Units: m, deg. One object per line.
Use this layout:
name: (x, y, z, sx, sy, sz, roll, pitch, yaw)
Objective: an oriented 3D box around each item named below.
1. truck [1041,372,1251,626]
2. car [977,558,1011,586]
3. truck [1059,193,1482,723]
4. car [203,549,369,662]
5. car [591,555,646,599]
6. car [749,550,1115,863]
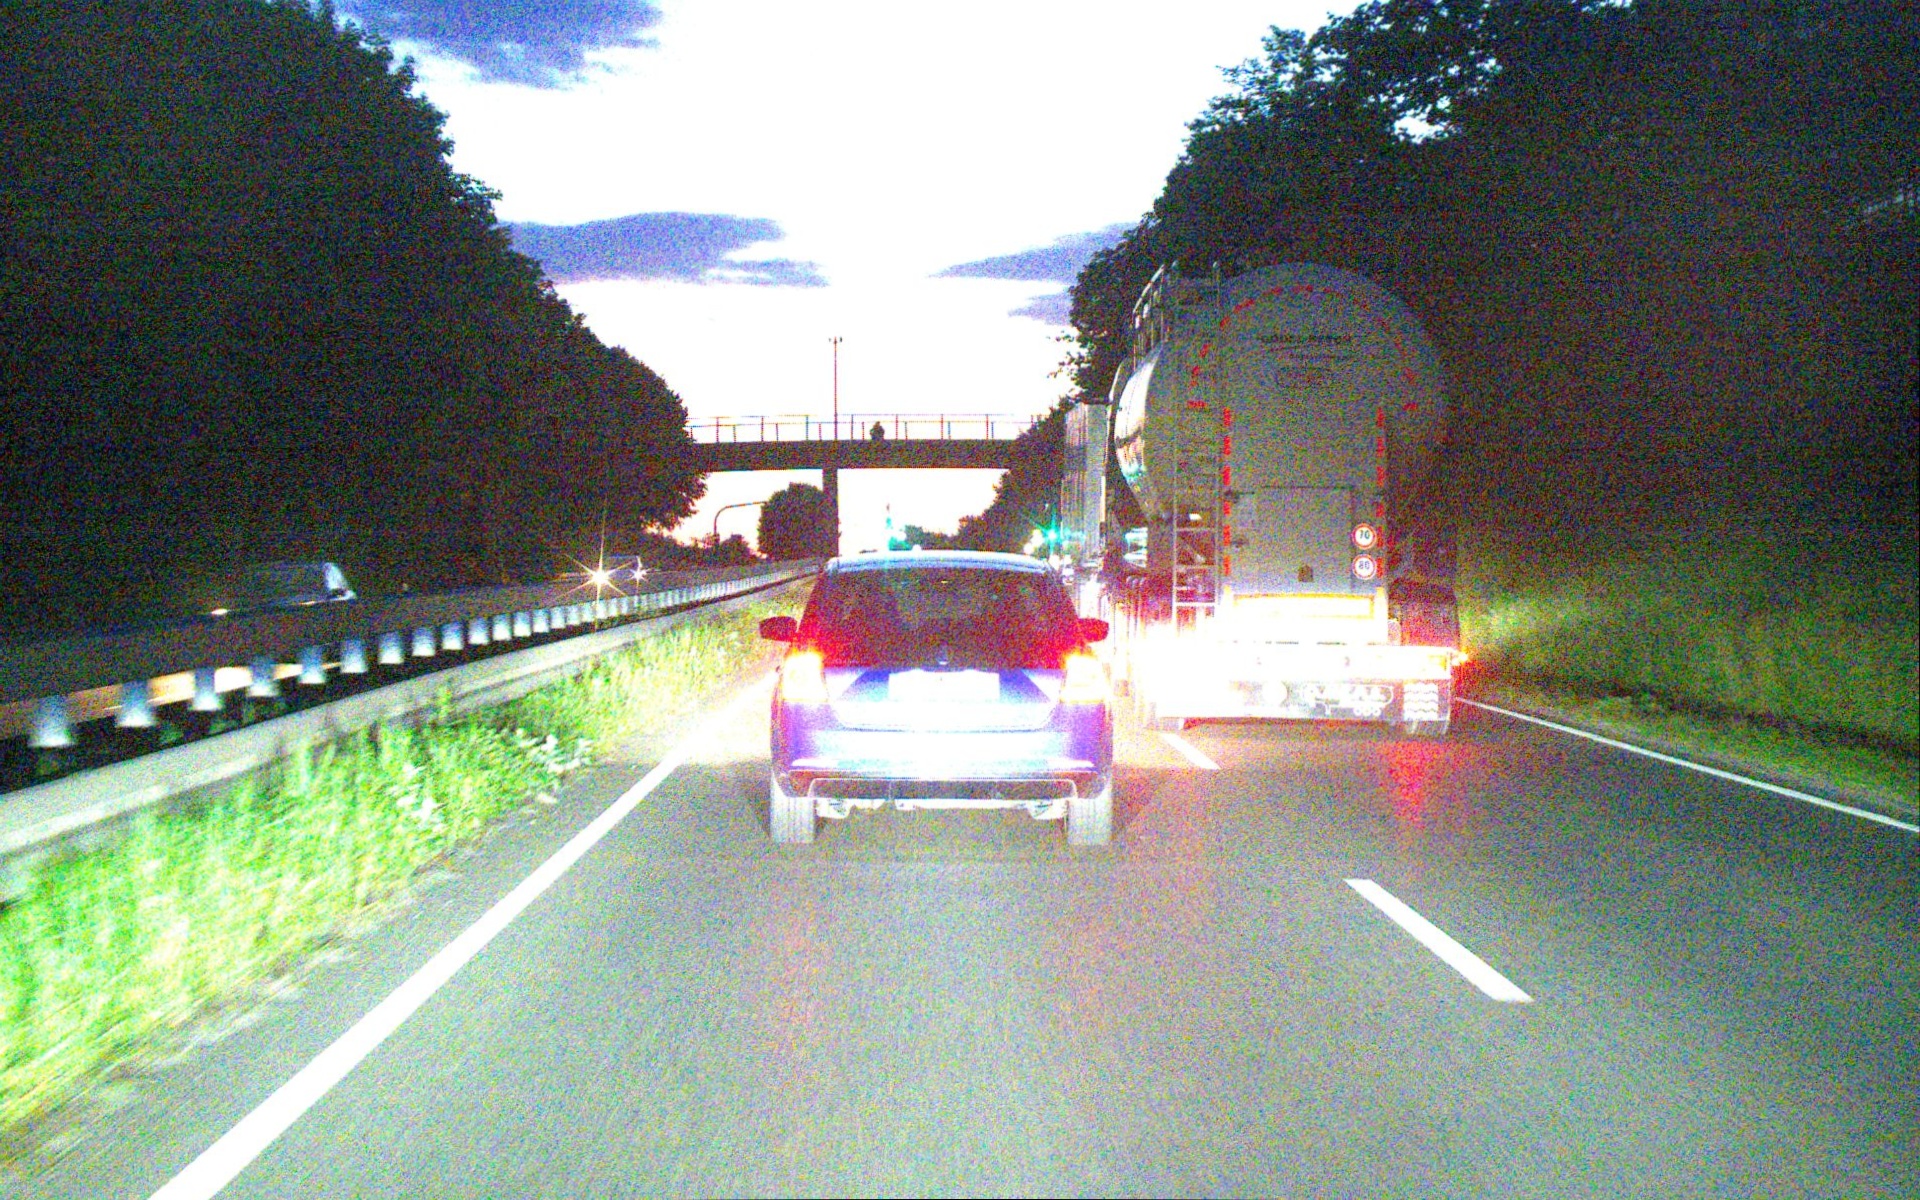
truck: (3.171, -1.699, 62.105, 2.883, 4.092, 12.684, 1, 1, -1)
car: (1.790, -1.489, 182.726, 1.695, 1.447, 3.914, 1, 1, -1)
truck: (2.611, -1.168, 33.368, 2.687, 4.092, 13.142, 1, 1, -1)
car: (-9.972, 0.049, 51.126, 1.682, 1.582, 4.167, 1, 1, -1)
car: (-12.110, -0.814, 122.064, 1.617, 1.502, 3.869, 1, 1, -1)
car: (-0.159, 0.480, 18.074, 1.695, 1.447, 3.914, 1, 1, -1)
